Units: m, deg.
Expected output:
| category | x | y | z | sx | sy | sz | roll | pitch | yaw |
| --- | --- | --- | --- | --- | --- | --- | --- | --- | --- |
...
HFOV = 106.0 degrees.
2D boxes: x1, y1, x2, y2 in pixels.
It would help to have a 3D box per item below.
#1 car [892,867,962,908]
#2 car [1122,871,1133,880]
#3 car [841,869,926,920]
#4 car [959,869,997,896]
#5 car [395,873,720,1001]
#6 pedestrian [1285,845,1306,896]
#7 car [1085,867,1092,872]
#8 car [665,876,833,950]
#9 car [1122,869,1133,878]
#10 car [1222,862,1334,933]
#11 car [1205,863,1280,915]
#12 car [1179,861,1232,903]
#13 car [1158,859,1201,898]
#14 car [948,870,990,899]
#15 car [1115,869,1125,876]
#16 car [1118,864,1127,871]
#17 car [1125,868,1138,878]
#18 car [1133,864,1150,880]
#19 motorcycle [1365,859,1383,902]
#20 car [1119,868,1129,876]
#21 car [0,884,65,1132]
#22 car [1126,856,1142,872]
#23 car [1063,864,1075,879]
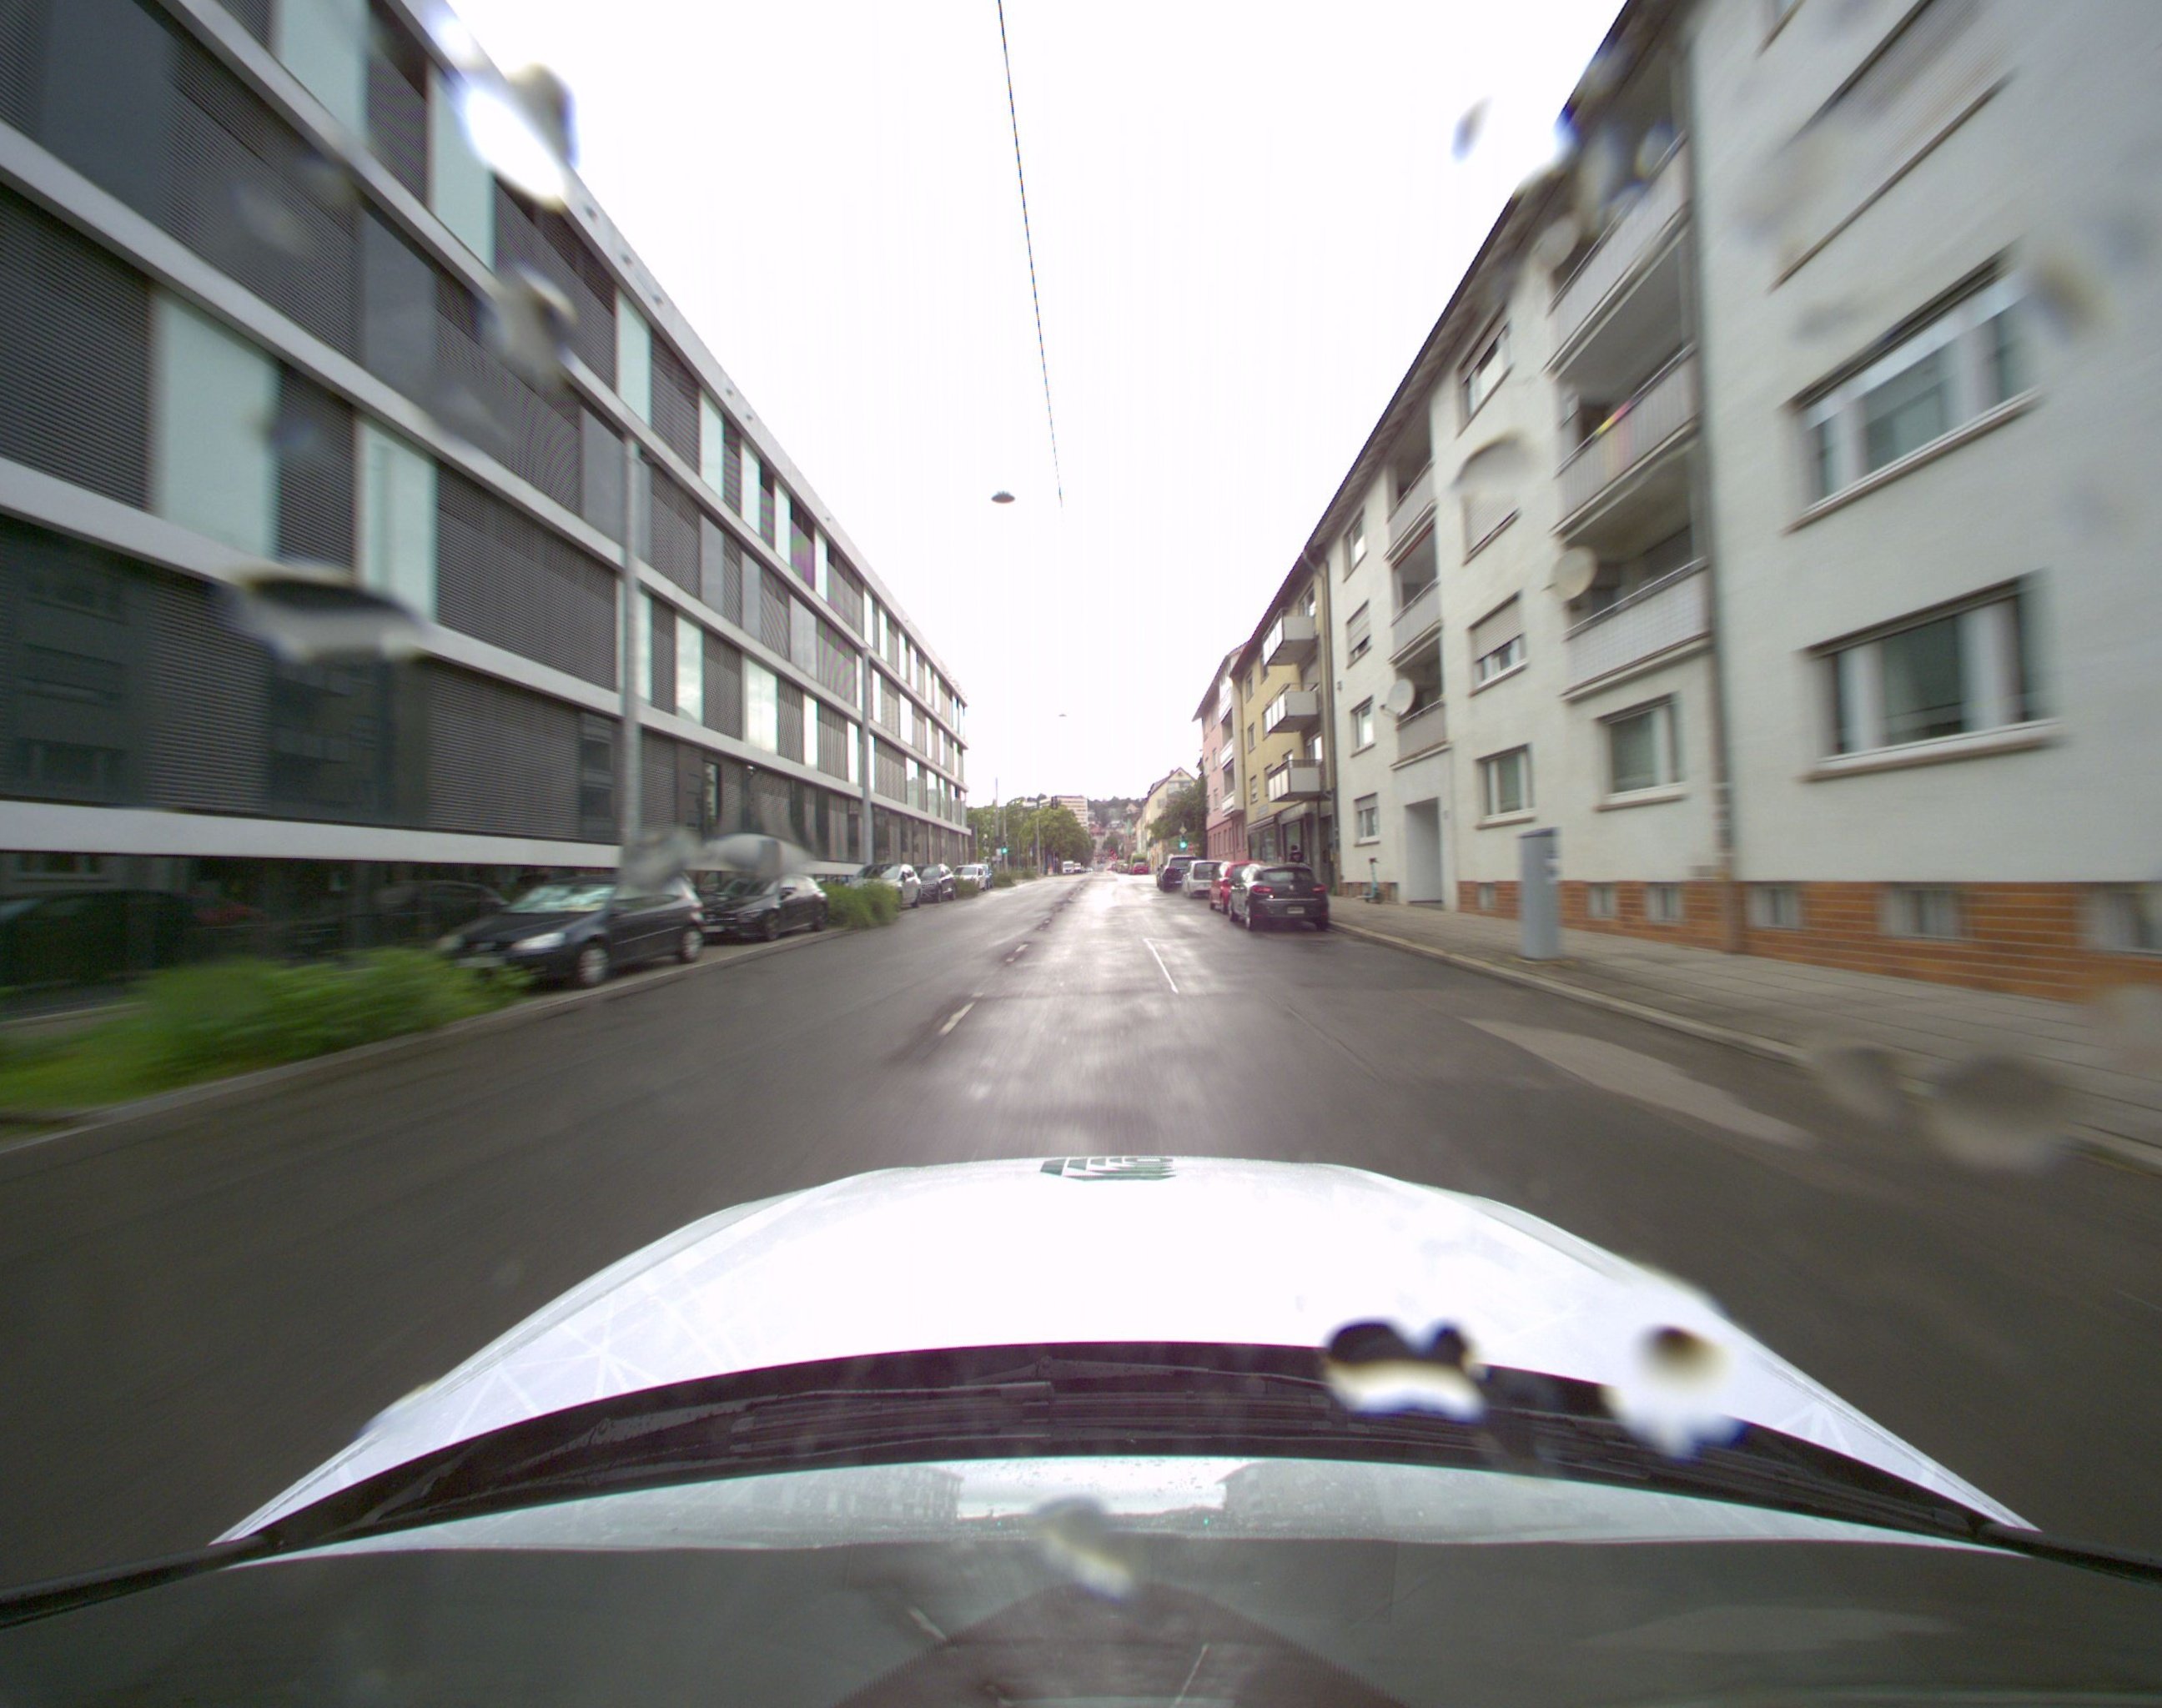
| category | x | y | z | sx | sy | sz | roll | pitch | yaw |
| --- | --- | --- | --- | --- | --- | --- | --- | --- | --- |
| car | -6.359 | 1.364 | 34.100 | 1.793 | 1.604 | 4.239 | -1 | -1 | 5 |
| car | 8.395 | 3.780 | 145.701 | 1.858 | 1.604 | 4.194 | -1 | -1 | 5 |
| car | -6.684 | 1.323 | 28.022 | 1.764 | 1.534 | 4.317 | -1 | 0 | 2 |
| car | -6.325 | 1.731 | 50.348 | 1.861 | 1.525 | 4.195 | -1 | 0 | -1 |
| car | -7.292 | 1.058 | 12.009 | 1.856 | 1.489 | 4.348 | -1 | -1 | 2 |
| pedestrian | 8.053 | 0.619 | 30.537 | 0.636 | 1.870 | 0.539 | -1 | -2 | 3 |
| car | 2.229 | 5.012 | 257.995 | 2.030 | 1.589 | 4.355 | -1 | -1 | -2 |
| car | -7.201 | 1.219 | 18.206 | 1.830 | 1.396 | 4.394 | -1 | -1 | 2 |
| car | 8.648 | 3.685 | 150.738 | 1.858 | 1.604 | 4.194 | -1 | -1 | 5 |
| car | 4.427 | 0.928 | 18.870 | 1.700 | 1.454 | 3.985 | -1 | -1 | 1 |
| car | 4.672 | 0.986 | 24.032 | 1.576 | 1.413 | 3.655 | -1 | -1 | 1 |
| car | 4.943 | 1.087 | 32.774 | 1.629 | 1.571 | 3.712 | -1 | -1 | 1 |
| car | 4.739 | 1.151 | 39.460 | 1.649 | 1.738 | 4.180 | -1 | 0 | 1 |
| car | -6.133 | 1.662 | 45.019 | 1.588 | 1.459 | 3.722 | -1 | 0 | 3 |
| car | 8.171 | 3.843 | 169.219 | 1.858 | 1.604 | 4.194 | -1 | -1 | 5 |
| car | 9.131 | 2.944 | 180.089 | 1.858 | 1.604 | 4.194 | -1 | -1 | 5 |
| car | 7.895 | 2.931 | 126.358 | 1.858 | 1.604 | 4.194 | -1 | -1 | 5 |
| car | 6.798 | 2.025 | 91.037 | 1.858 | 1.770 | 4.194 | -1 | -1 | 5 |
| motorcycle | 7.969 | 0.721 | 22.180 | 0.251 | 1.165 | 0.782 | -1 | -1 | 4 |
| car | 8.557 | 3.518 | 161.009 | 1.858 | 1.604 | 4.194 | -1 | -1 | 5 |
| car | -7.462 | 0.899 | 2.802 | 1.864 | 1.473 | 4.742 | -1 | -1 | 2 |
| car | 6.579 | 1.234 | 100.211 | 1.858 | 1.973 | 4.194 | -1 | -1 | 5 |
| car | -2.104 | 3.180 | 146.855 | 2.098 | 2.546 | 4.749 | -1 | -1 | 0 |
